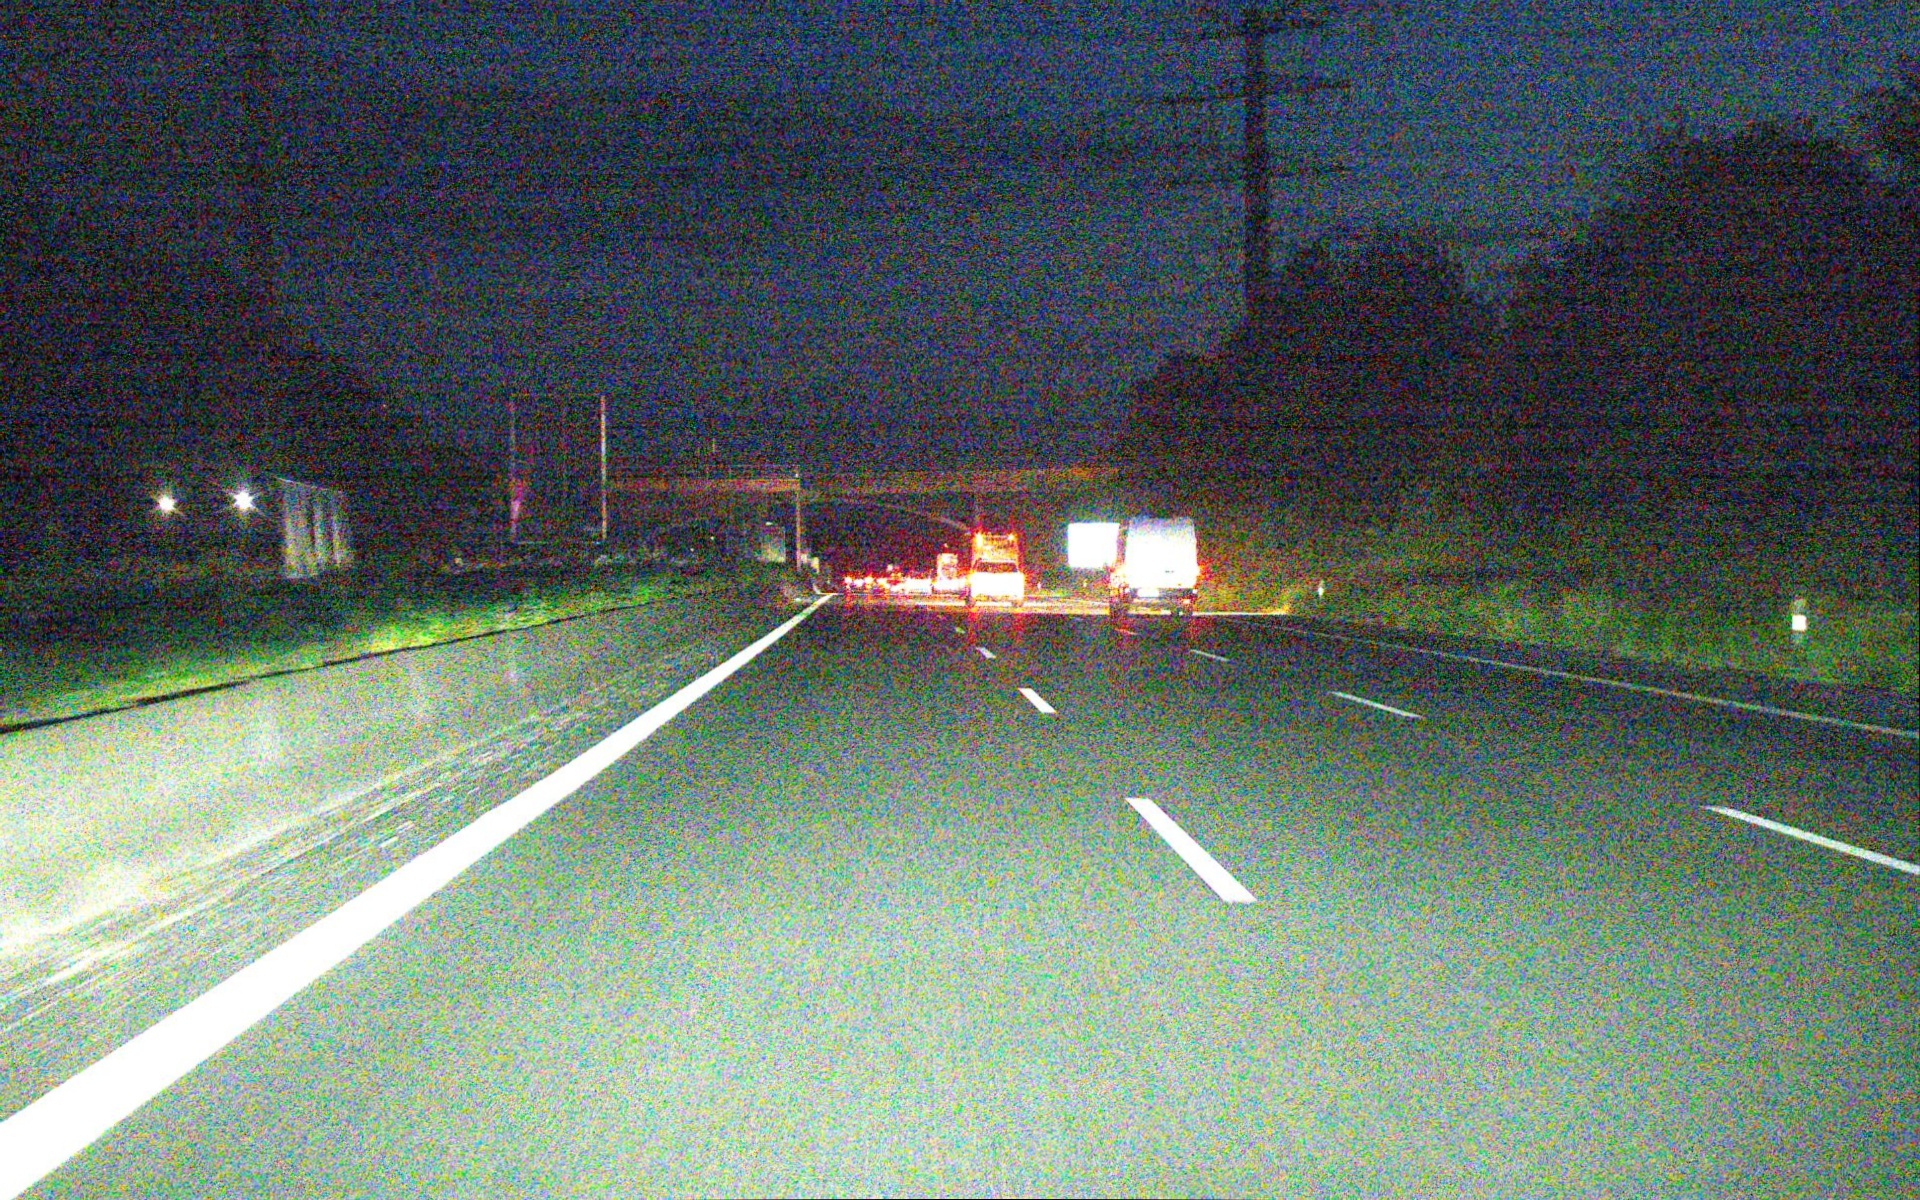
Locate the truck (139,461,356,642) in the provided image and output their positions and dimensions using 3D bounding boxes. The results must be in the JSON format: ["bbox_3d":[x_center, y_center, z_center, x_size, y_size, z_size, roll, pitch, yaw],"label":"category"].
[{"bbox_3d":[-18.500,-1.343,90.585,3.113,4.188,16.982,-2,1,-4],"label":"truck"}]

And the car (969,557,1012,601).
[{"bbox_3d":[1.019,-0.718,114.732,1.346,1.382,3.502,1,1,-1],"label":"car"}]

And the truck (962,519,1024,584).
[{"bbox_3d":[1.713,-2.641,183.970,3.044,3.313,10.143,1,1,-1],"label":"truck"}]

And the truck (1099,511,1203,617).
[{"bbox_3d":[5.180,-0.941,94.356,2.076,2.682,7.308,1,-1,-3],"label":"truck"}]

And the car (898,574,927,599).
[{"bbox_3d":[-3.015,-0.850,219.998,1.821,1.461,4.248,1,1,-1],"label":"car"}]

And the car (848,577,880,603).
[{"bbox_3d":[-5.740,-0.616,206.592,1.821,1.461,4.248,1,1,-1],"label":"car"}]
